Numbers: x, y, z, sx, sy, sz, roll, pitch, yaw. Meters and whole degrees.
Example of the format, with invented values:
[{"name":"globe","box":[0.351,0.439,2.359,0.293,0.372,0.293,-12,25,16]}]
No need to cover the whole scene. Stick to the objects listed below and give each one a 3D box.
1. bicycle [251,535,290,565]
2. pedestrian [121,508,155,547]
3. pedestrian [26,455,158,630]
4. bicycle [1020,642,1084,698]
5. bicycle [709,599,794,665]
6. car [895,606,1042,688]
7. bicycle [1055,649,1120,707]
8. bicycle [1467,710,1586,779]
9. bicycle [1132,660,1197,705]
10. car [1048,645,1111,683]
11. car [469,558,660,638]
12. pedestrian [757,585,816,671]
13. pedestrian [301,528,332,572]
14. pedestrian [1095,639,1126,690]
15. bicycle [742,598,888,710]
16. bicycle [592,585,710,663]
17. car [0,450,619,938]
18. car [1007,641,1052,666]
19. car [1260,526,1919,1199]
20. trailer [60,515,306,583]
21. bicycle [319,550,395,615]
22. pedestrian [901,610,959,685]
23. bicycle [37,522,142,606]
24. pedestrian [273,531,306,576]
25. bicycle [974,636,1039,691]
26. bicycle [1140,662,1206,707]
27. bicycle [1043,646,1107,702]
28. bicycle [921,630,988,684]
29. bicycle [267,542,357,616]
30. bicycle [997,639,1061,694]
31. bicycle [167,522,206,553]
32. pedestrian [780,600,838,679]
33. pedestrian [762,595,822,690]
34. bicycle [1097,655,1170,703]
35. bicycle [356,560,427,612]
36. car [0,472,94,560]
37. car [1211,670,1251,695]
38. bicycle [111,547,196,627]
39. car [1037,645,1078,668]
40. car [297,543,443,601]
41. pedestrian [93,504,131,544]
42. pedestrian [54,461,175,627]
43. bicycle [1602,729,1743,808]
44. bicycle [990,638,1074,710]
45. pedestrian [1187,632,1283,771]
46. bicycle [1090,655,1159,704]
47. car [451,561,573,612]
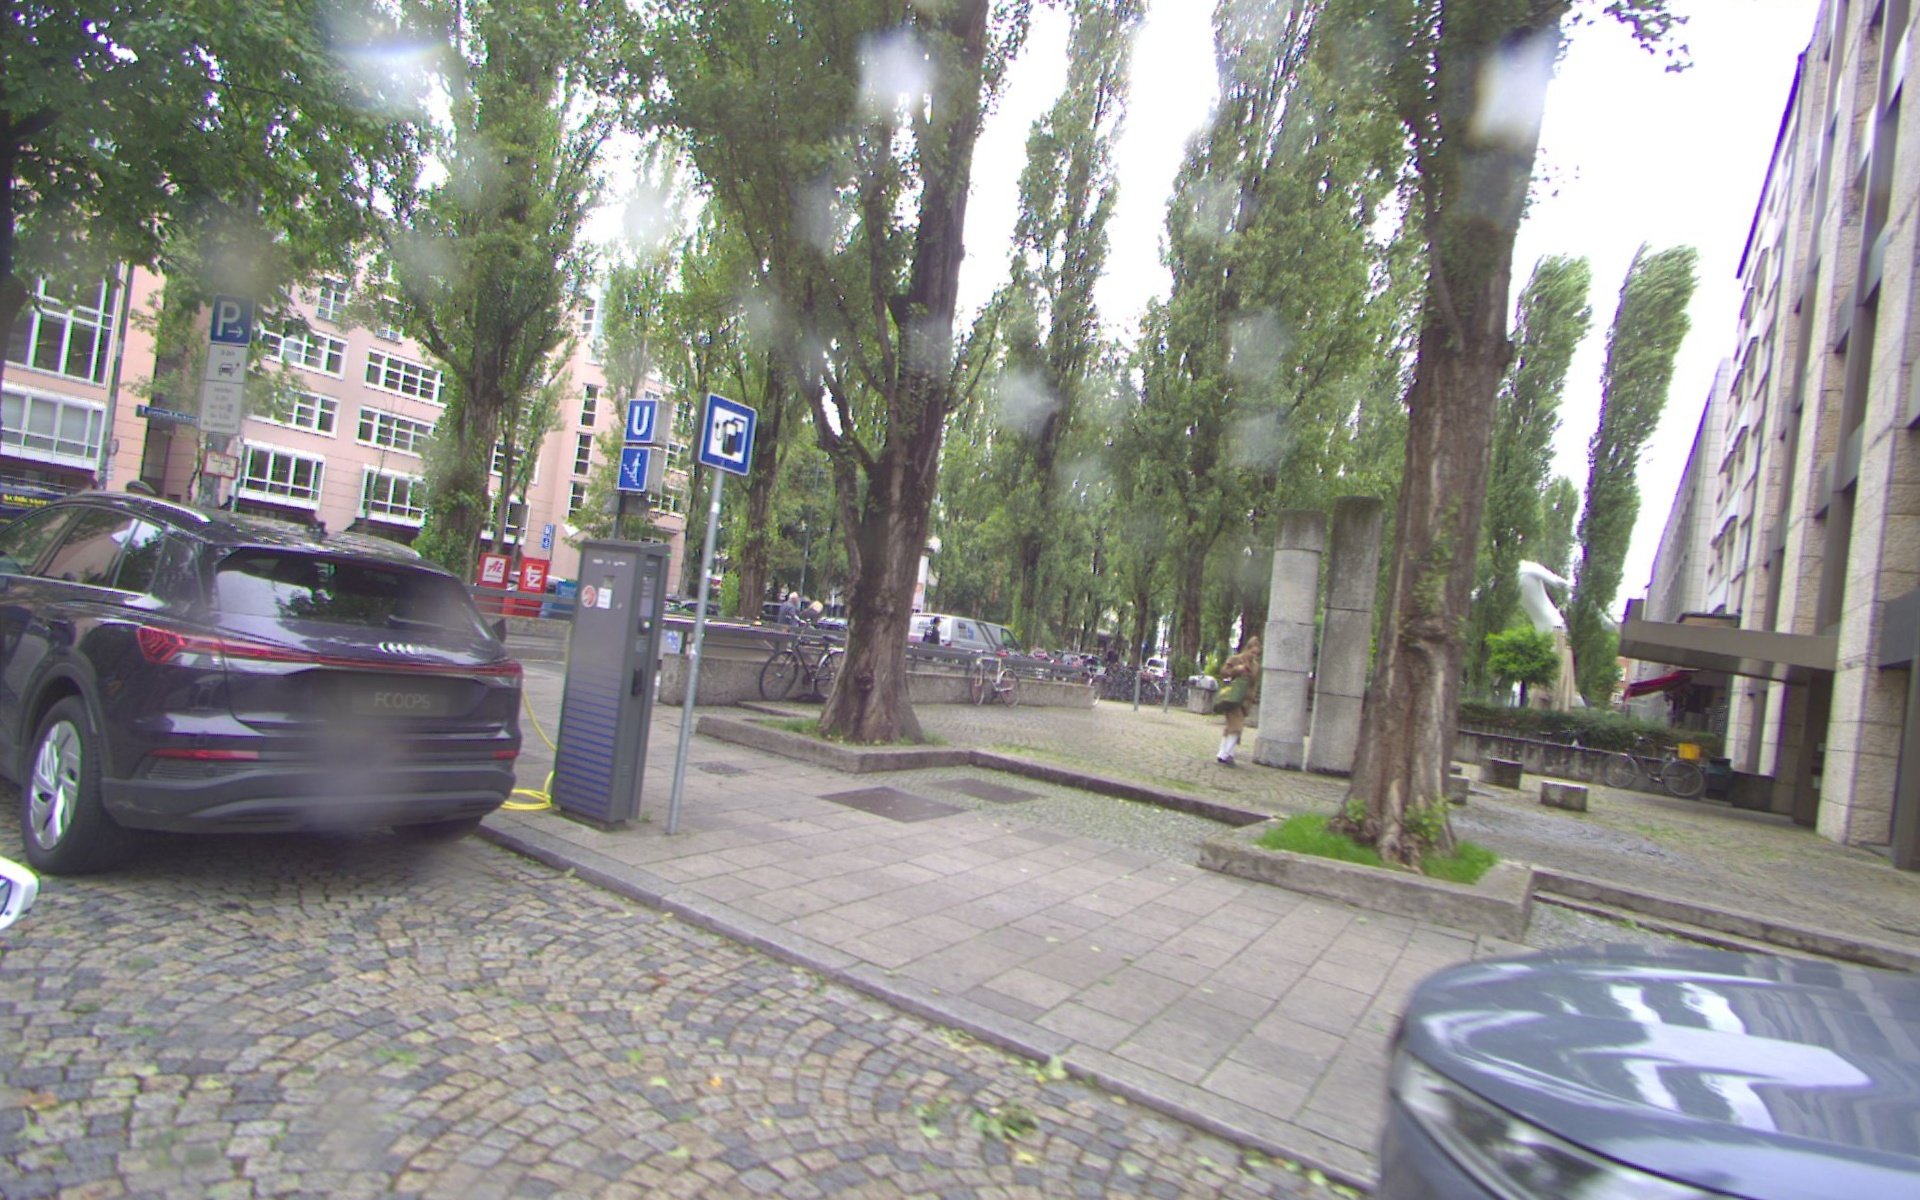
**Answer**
[{"name":"bicycle","box":[-32.279,-2.341,47.100,2.073,1.138,0.674,7,-1,34]},{"name":"pedestrian","box":[-32.391,-2.840,39.645,0.698,1.385,0.730,7,-1,34]},{"name":"pedestrian","box":[-9.225,-0.599,10.703,0.602,1.700,0.842,7,-1,42]},{"name":"bicycle","box":[2.225,1.698,24.067,0.578,1.173,1.866,7,-2,34]},{"name":"bicycle","box":[-4.221,0.684,20.514,0.577,1.173,1.869,7,-2,25]},{"name":"car","box":[0.385,1.548,31.640,1.786,1.917,5.193,8,-2,35]},{"name":"bicycle","box":[2.938,1.810,22.994,0.578,1.173,1.866,7,-2,34]},{"name":"bicycle","box":[12.867,3.254,22.874,2.209,1.169,0.647,7,-1,33]},{"name":"bicycle","box":[6.476,2.611,31.895,1.840,1.173,0.586,7,-1,35]},{"name":"car","box":[6.484,3.475,54.459,1.719,1.609,3.946,9,-1,31]},{"name":"car","box":[-10.550,-0.003,27.161,1.729,1.444,4.437,9,-1,37]},{"name":"pedestrian","box":[-3.965,0.647,23.004,0.739,1.824,0.840,7,-1,38]},{"name":"pedestrian","box":[-27.944,-2.173,43.683,0.698,1.733,0.730,7,-1,34]},{"name":"pedestrian","box":[5.828,2.494,38.964,0.689,1.862,0.704,7,0,36]},{"name":"bicycle","box":[-1.889,0.745,13.367,0.710,1.291,1.866,7,-2,34]},{"name":"bicycle","box":[-5.570,0.450,18.226,0.580,1.173,1.860,7,-2,45]},{"name":"car","box":[-4.146,0.253,5.543,4.131,1.719,1.925,7,-2,31]},{"name":"car","box":[5.586,4.317,80.769,1.738,1.597,3.966,7,-2,33]},{"name":"car","box":[2.843,1.109,0.979,4.595,1.719,2.018,7,-2,31]},{"name":"trailer","box":[-25.353,-1.607,33.098,2.366,1.213,5.918,7,-2,34]},{"name":"bicycle","box":[-11.276,-0.340,18.793,1.806,1.050,0.511,6,-1,38]},{"name":"pedestrian","box":[-0.818,1.298,27.436,0.905,1.888,1.011,7,-1,38]},{"name":"bicycle","box":[-13.115,-0.551,15.146,1.844,1.063,0.475,7,-1,28]},{"name":"pedestrian","box":[-27.712,-1.913,41.582,0.698,1.733,0.730,7,-1,34]},{"name":"bicycle","box":[1.159,1.572,24.748,0.578,1.173,1.866,7,-2,34]},{"name":"bicycle","box":[6.859,2.720,32.438,1.840,1.173,0.586,7,-1,35]},{"name":"bicycle","box":[2.741,1.755,23.724,0.578,1.173,1.866,7,-2,34]},{"name":"bicycle","box":[-0.122,1.432,24.899,0.578,1.173,1.866,7,-2,34]},{"name":"bicycle","box":[-11.513,-0.378,17.859,1.899,1.118,0.512,6,-1,33]},{"name":"bicycle","box":[1.699,1.639,24.414,0.578,1.173,1.866,7,-2,34]},{"name":"bicycle","box":[-33.843,-2.731,44.009,1.957,1.138,0.674,7,-1,34]},{"name":"pedestrian","box":[-3.345,0.878,22.308,0.688,1.625,0.831,7,-1,38]},{"name":"pedestrian","box":[-3.253,0.820,19.450,0.686,1.721,0.656,8,0,-41]},{"name":"bicycle","box":[5.271,2.404,30.661,2.000,1.173,0.586,7,-1,35]},{"name":"bicycle","box":[-11.028,-0.285,19.480,1.806,0.827,0.470,6,-2,38]},{"name":"car","box":[-28.223,-2.663,28.188,1.991,2.222,5.487,7,-2,33]},{"name":"car","box":[20.607,6.283,76.430,1.719,1.564,3.946,9,-1,31]},{"name":"bicycle","box":[-13.125,-0.223,16.354,1.847,1.063,0.475,8,0,35]},{"name":"car","box":[8.303,4.844,85.289,1.738,1.598,3.963,7,-1,33]},{"name":"car","box":[-21.889,-1.010,37.485,1.778,1.559,4.224,6,-2,35]},{"name":"pedestrian","box":[-32.929,-2.935,39.068,0.718,1.385,0.710,8,-1,4]},{"name":"pedestrian","box":[-9.456,-0.616,11.258,0.655,1.716,0.802,7,-1,43]},{"name":"bicycle","box":[14.502,3.406,20.564,2.209,1.169,0.647,7,-1,33]},{"name":"bicycle","box":[1.354,1.395,18.558,0.578,1.173,1.866,7,-2,34]},{"name":"pedestrian","box":[3.503,1.284,12.846,0.711,1.625,0.705,8,-1,-22]},{"name":"bicycle","box":[4.921,2.377,30.154,1.840,1.173,0.586,7,-1,35]},{"name":"car","box":[-19.114,-0.540,43.080,1.967,1.559,4.319,7,-2,31]}]
